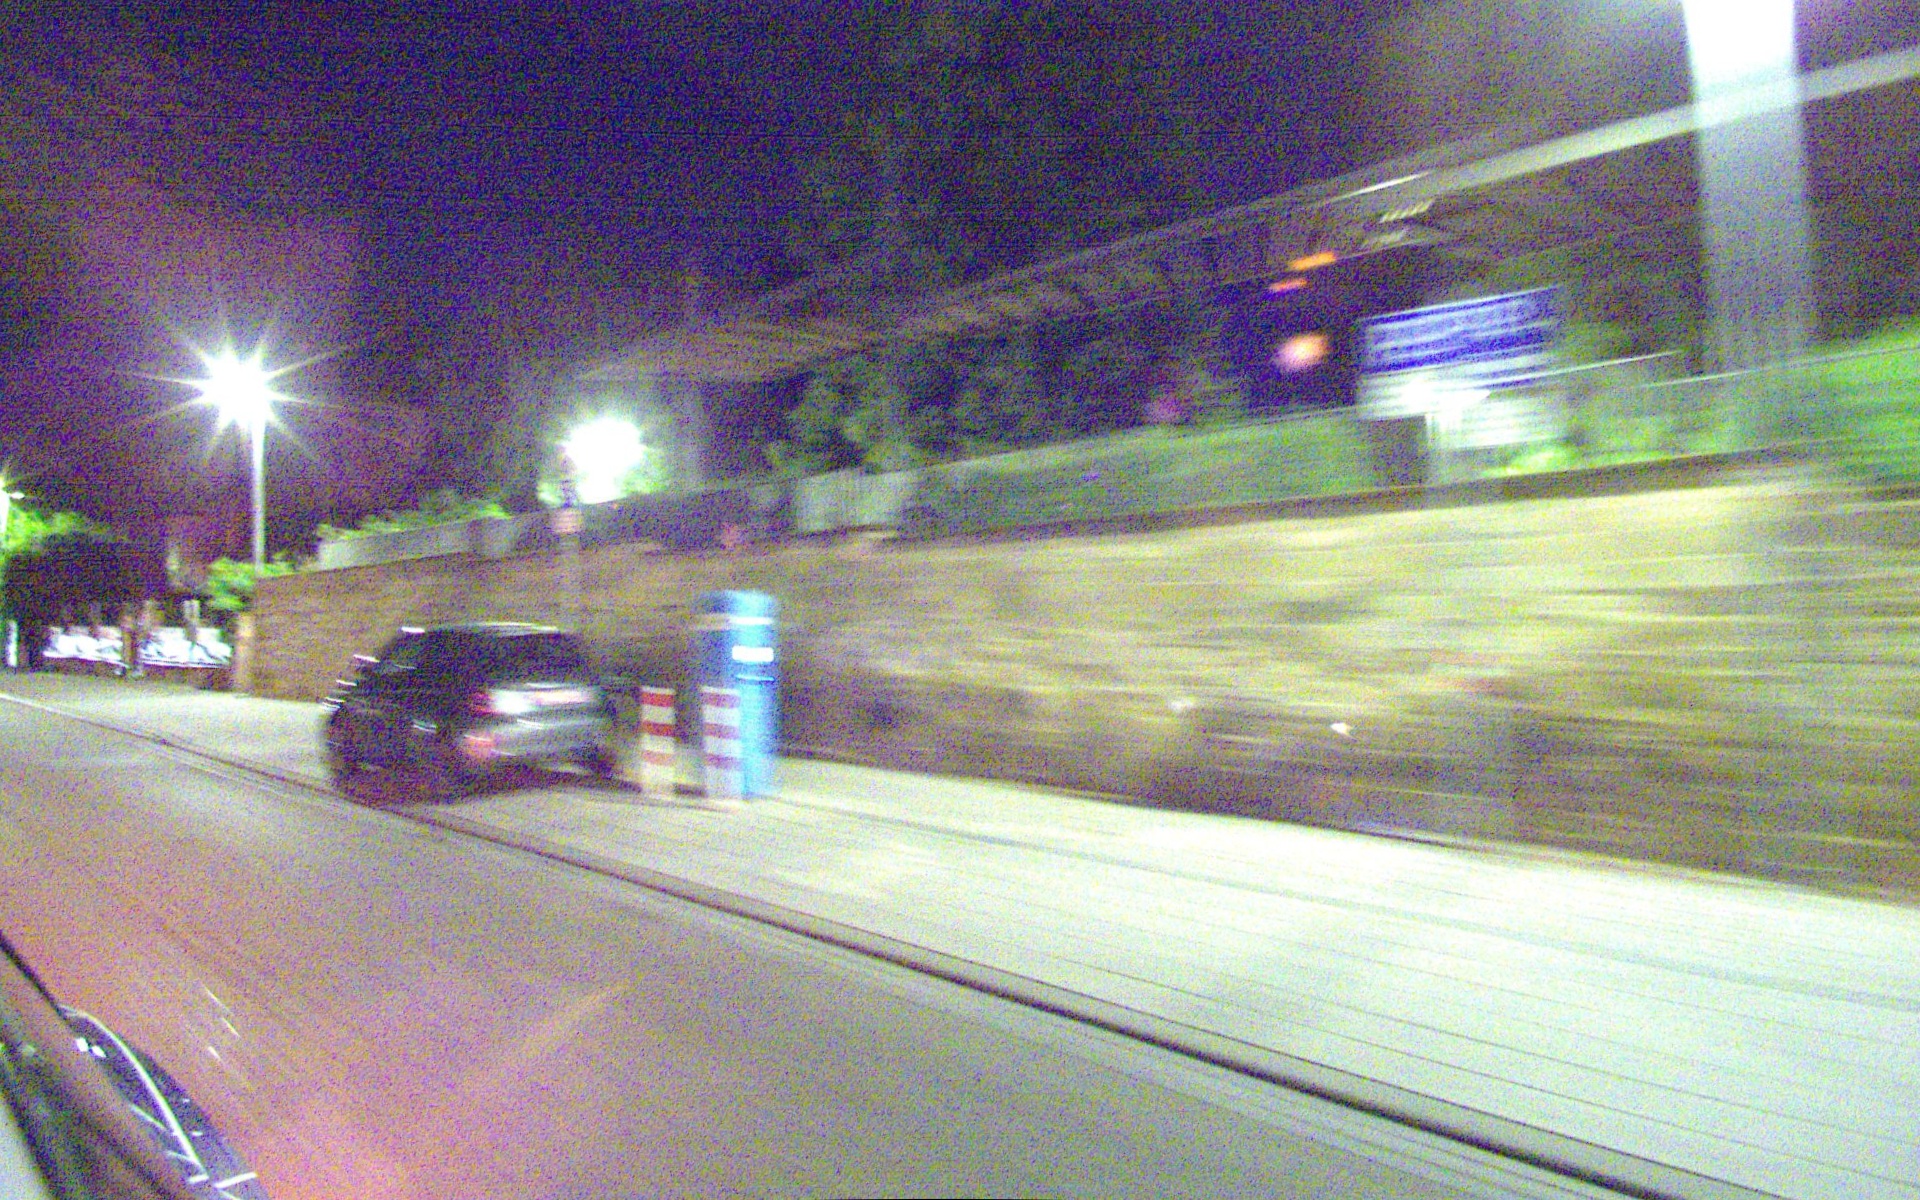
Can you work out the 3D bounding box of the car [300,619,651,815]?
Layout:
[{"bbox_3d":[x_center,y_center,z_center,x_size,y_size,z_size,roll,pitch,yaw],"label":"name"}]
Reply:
[{"bbox_3d":[-4.858,0.983,9.971,3.687,1.535,1.675,0,-1,39],"label":"car"}]
